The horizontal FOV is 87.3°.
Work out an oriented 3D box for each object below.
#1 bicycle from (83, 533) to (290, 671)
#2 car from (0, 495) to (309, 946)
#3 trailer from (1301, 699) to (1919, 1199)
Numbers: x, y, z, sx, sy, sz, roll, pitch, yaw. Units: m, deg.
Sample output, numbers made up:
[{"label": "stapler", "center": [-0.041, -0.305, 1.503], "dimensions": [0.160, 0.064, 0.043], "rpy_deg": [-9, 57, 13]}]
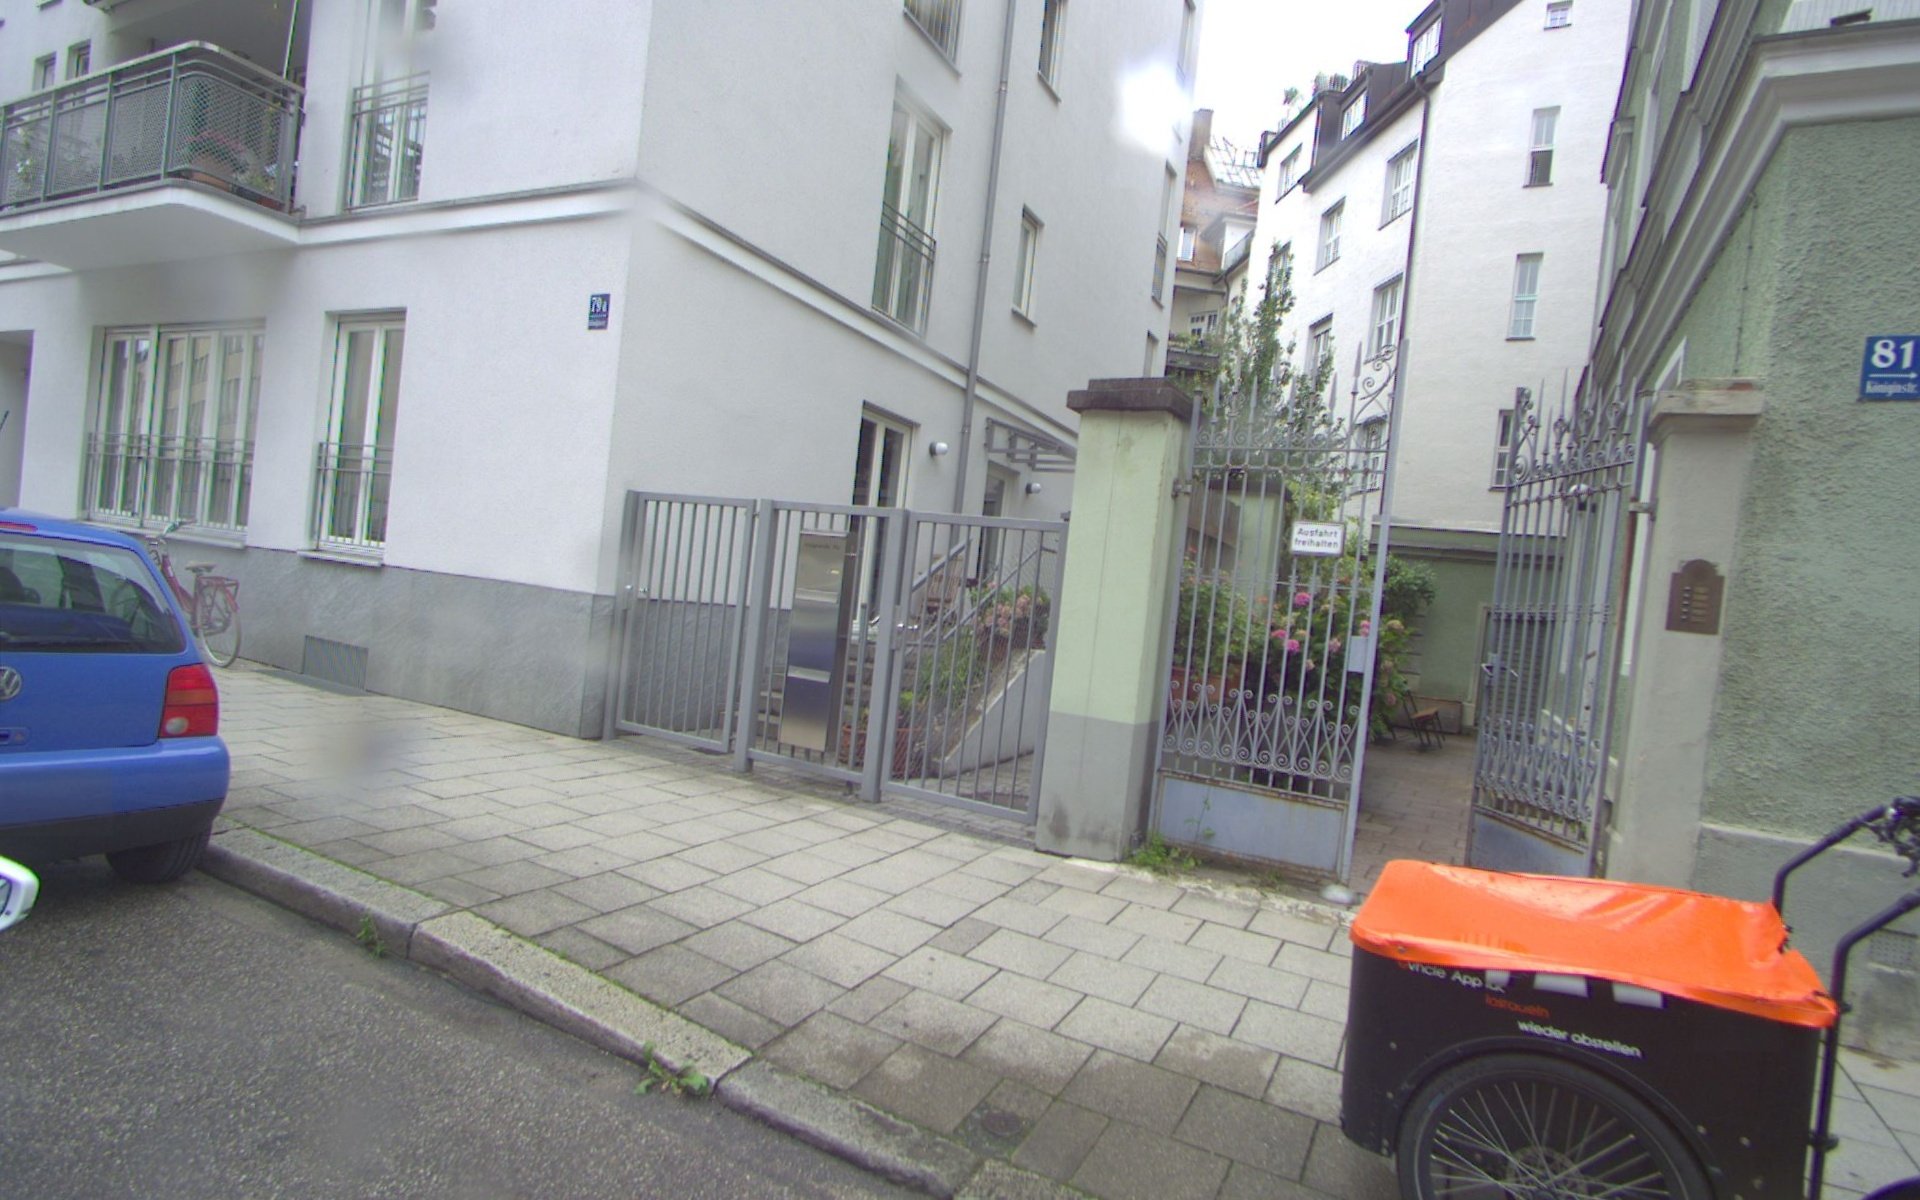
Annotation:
[{"label": "bicycle", "center": [-6.846, 0.007, 8.891], "dimensions": [1.802, 1.041, 0.678], "rpy_deg": [5, 0, 26]}, {"label": "car", "center": [-4.558, 0.229, 3.979], "dimensions": [3.490, 1.428, 1.624], "rpy_deg": [6, -2, 25]}, {"label": "trailer", "center": [2.010, 1.008, 2.222], "dimensions": [2.129, 1.200, 0.941], "rpy_deg": [7, 4, 33]}]
